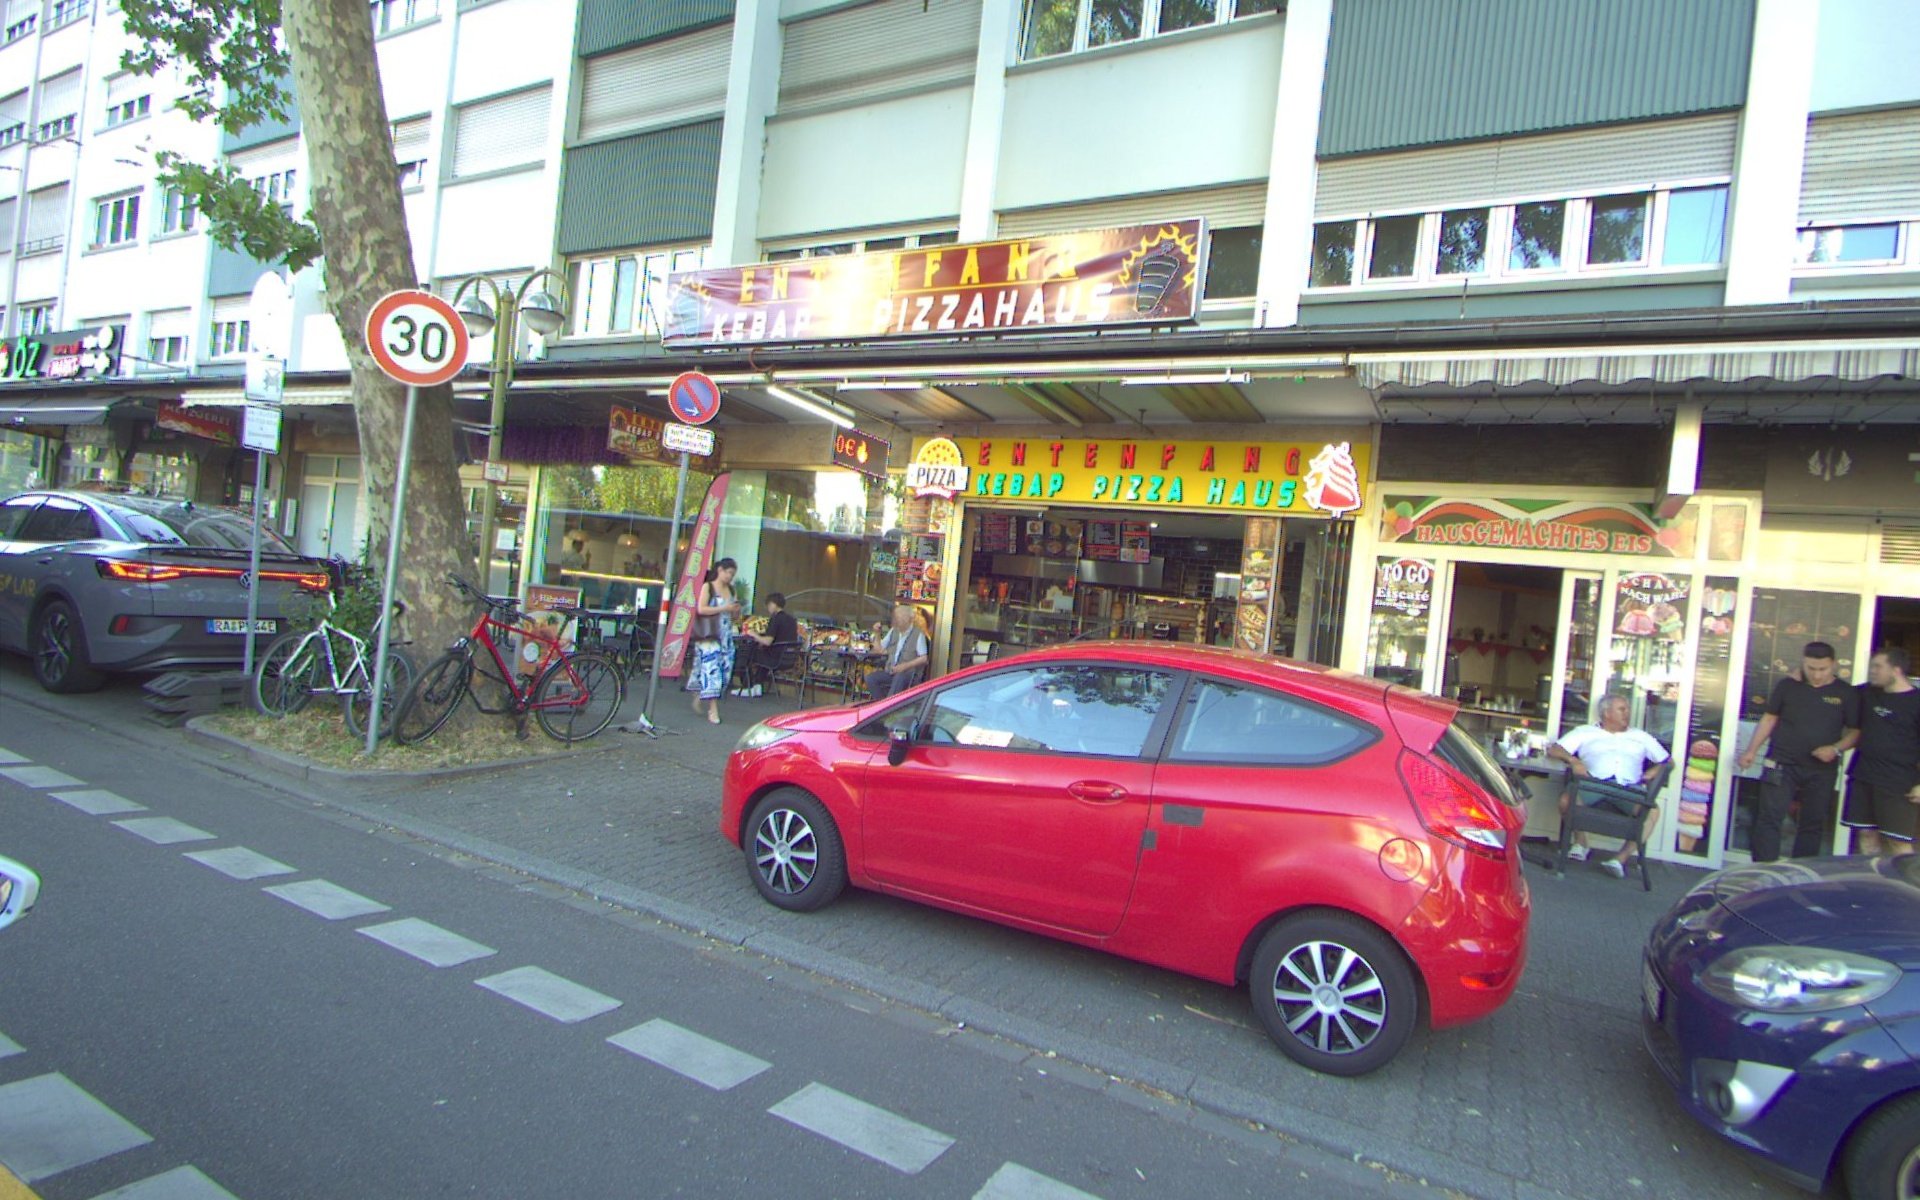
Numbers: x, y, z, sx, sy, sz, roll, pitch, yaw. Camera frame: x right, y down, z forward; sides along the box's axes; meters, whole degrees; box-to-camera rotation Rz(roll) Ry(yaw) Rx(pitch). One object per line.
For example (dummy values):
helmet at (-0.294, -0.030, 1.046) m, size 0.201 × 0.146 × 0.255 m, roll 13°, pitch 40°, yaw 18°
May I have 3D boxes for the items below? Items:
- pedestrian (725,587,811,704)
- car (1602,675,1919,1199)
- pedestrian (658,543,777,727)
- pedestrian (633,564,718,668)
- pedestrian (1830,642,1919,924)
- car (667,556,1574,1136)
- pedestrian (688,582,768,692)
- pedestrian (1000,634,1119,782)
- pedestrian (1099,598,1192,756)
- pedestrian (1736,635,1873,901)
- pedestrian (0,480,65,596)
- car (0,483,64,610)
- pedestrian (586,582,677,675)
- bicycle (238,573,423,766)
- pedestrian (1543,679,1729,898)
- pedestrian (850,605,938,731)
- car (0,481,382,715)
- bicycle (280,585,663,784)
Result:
pedestrian at (-2.230, 0.521, 11.699) m, size 0.679 × 1.261 × 0.558 m, roll 7°, pitch 2°, yaw 33°
car at (4.084, 1.230, 2.866) m, size 3.549 × 1.488 × 1.767 m, roll 6°, pitch 3°, yaw 29°
pedestrian at (-2.349, 0.334, 9.755) m, size 0.783 × 1.667 × 0.583 m, roll 6°, pitch 0°, yaw 30°
pedestrian at (-4.074, 0.221, 14.483) m, size 0.958 × 1.350 × 0.830 m, roll 6°, pitch 0°, yaw -9°
pedestrian at (6.395, 1.212, 6.785) m, size 0.391 × 1.805 × 0.552 m, roll 4°, pitch 2°, yaw -29°
car at (0.654, 0.785, 4.931) m, size 3.757 × 1.617 × 1.783 m, roll 6°, pitch 3°, yaw 28°
pedestrian at (-2.854, 0.449, 12.364) m, size 0.680 × 1.261 × 0.557 m, roll 7°, pitch 2°, yaw 38°
pedestrian at (0.929, 0.976, 9.375) m, size 0.798 × 1.225 × 0.654 m, roll 7°, pitch 2°, yaw 28°
pedestrian at (1.985, 0.816, 10.740) m, size 0.589 × 1.566 × 0.700 m, roll 7°, pitch 0°, yaw 34°
pedestrian at (6.084, 1.178, 7.276) m, size 0.547 × 1.802 × 0.395 m, roll 6°, pitch 2°, yaw 29°
pedestrian at (-14.221, -0.948, 15.424) m, size 0.661 × 1.688 × 0.593 m, roll 4°, pitch 2°, yaw -42°
car at (-14.496, -0.931, 13.674) m, size 4.292 × 1.603 × 1.996 m, roll 7°, pitch 2°, yaw 27°
pedestrian at (-4.306, 0.364, 13.246) m, size 0.940 × 1.094 × 0.639 m, roll 7°, pitch 0°, yaw -9°
bicycle at (-4.555, 0.469, 7.246) m, size 1.421 × 1.169 × 0.553 m, roll 6°, pitch 0°, yaw 36°
pedestrian at (4.933, 1.318, 7.438) m, size 0.937 × 1.352 × 1.069 m, roll 7°, pitch 0°, yaw 30°
pedestrian at (-0.707, 0.718, 10.839) m, size 0.550 × 1.252 × 0.689 m, roll 7°, pitch 2°, yaw 29°
car at (-7.675, -0.151, 9.261) m, size 4.292 × 1.603 × 1.996 m, roll 7°, pitch 2°, yaw 27°
bicycle at (-3.333, 0.523, 7.108) m, size 0.547 × 1.171 × 2.377 m, roll 7°, pitch 4°, yaw 44°
